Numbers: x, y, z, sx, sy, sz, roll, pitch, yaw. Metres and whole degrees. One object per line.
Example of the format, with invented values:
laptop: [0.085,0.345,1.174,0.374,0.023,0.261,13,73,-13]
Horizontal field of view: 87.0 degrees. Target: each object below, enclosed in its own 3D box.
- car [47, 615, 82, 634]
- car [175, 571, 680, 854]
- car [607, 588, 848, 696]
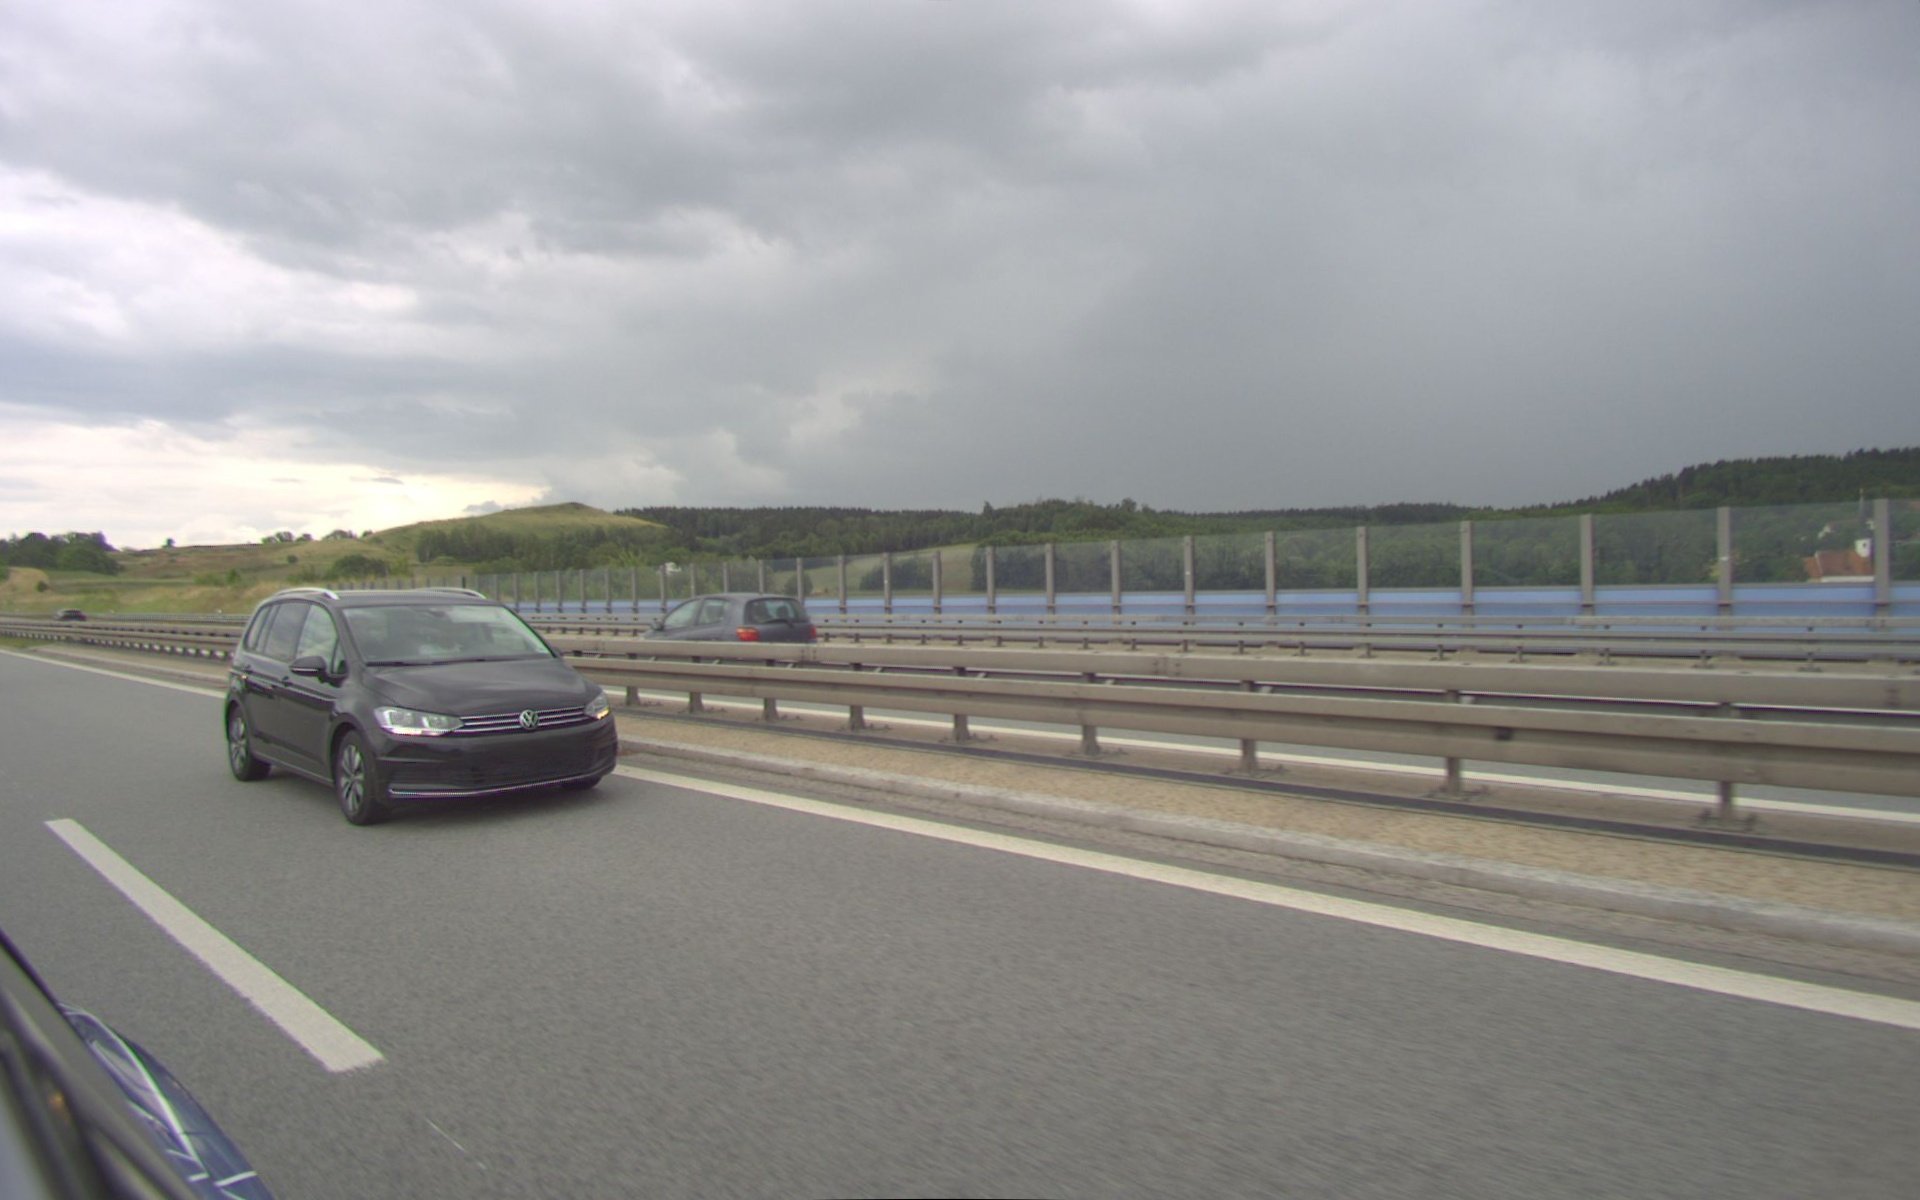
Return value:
car: [-72.504,1.990,81.927,3.998,1.419,1.614,-1,0,41]
car: [-4.725,0.687,8.486,5.393,1.683,1.877,-1,0,41]
car: [-3.793,0.607,16.183,3.998,1.503,1.736,-1,0,41]
